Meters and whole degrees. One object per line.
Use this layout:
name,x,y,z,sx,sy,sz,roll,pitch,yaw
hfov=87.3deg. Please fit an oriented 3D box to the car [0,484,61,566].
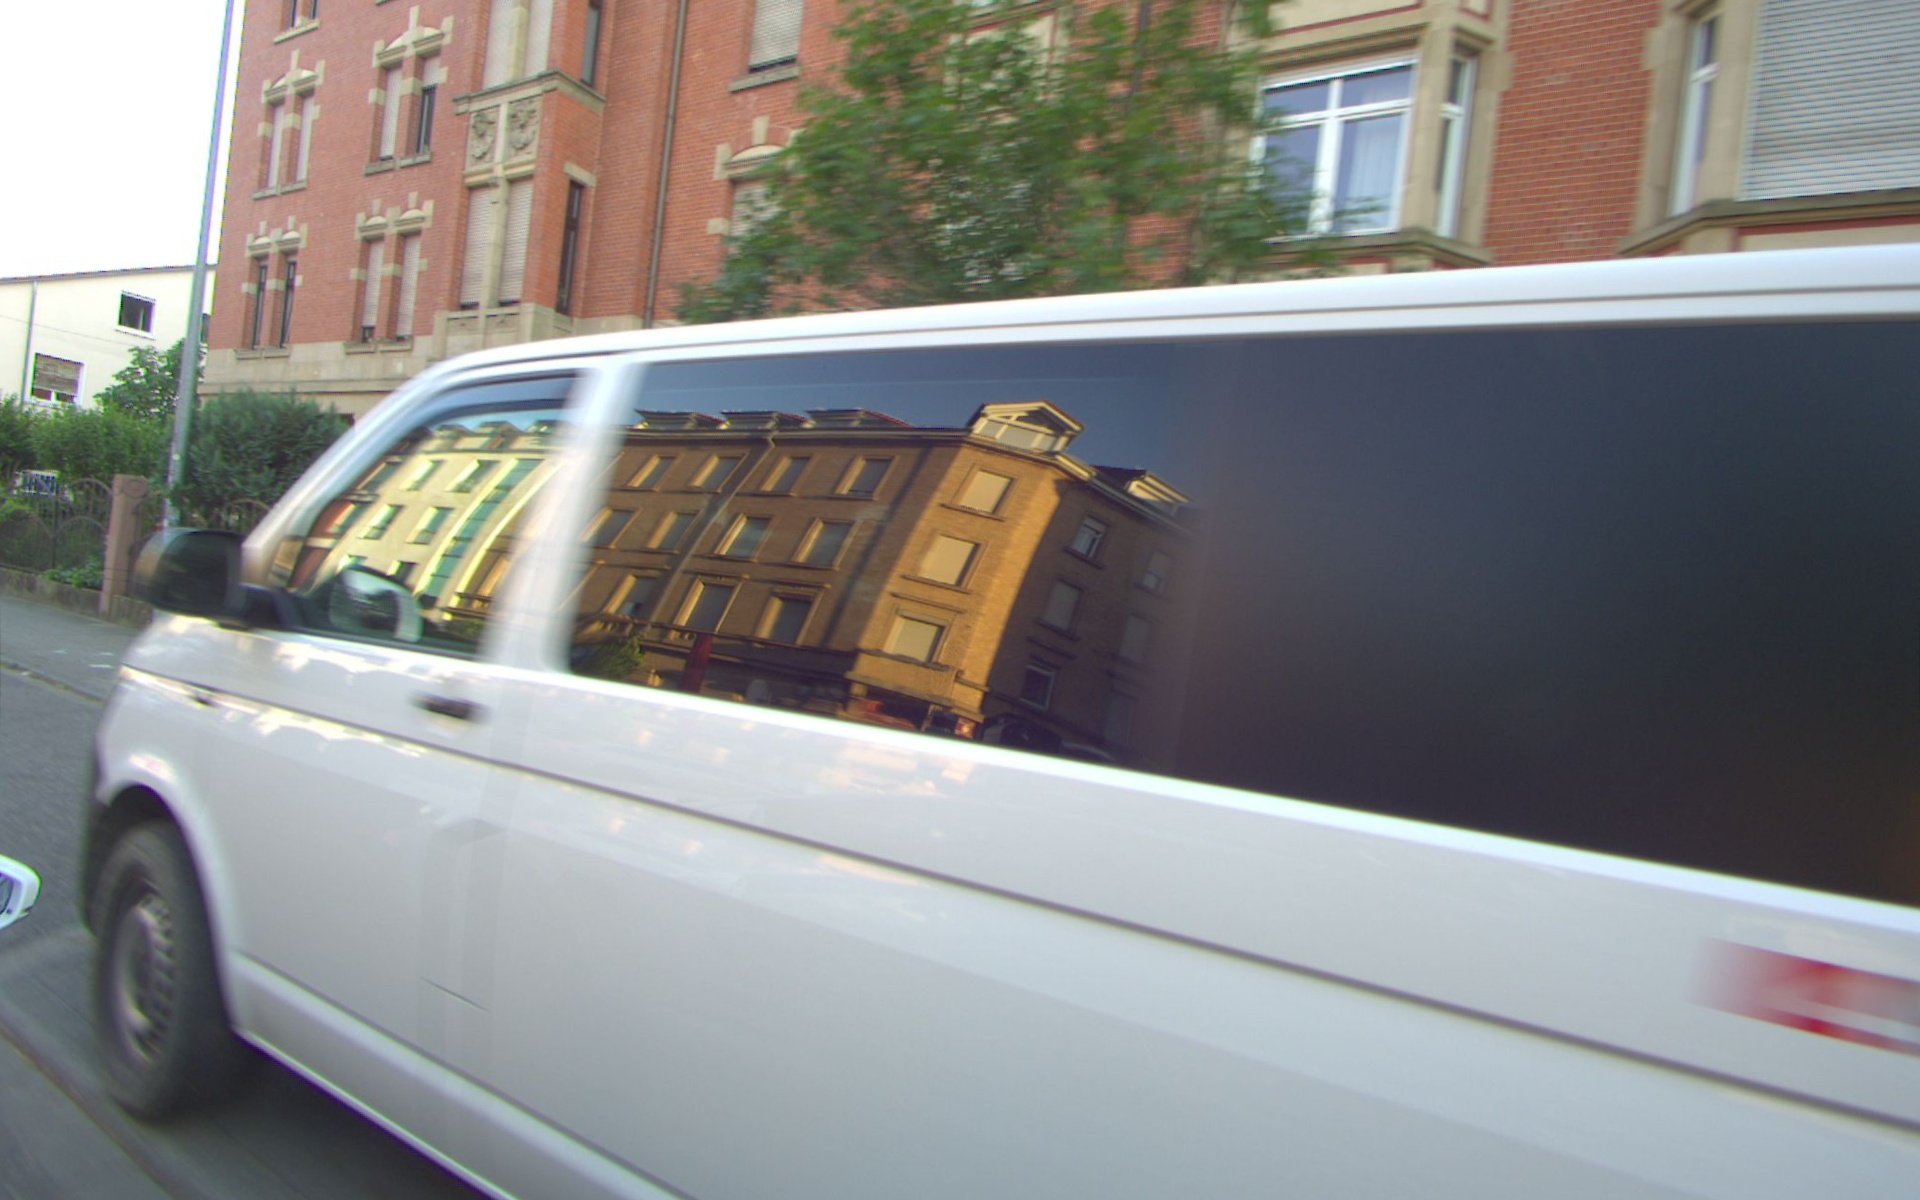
car,-19.526,-1.623,19.592,4.349,1.442,1.728,6,1,31

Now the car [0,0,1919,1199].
car,-0.037,0.456,2.308,5.451,2.065,1.863,7,1,31
